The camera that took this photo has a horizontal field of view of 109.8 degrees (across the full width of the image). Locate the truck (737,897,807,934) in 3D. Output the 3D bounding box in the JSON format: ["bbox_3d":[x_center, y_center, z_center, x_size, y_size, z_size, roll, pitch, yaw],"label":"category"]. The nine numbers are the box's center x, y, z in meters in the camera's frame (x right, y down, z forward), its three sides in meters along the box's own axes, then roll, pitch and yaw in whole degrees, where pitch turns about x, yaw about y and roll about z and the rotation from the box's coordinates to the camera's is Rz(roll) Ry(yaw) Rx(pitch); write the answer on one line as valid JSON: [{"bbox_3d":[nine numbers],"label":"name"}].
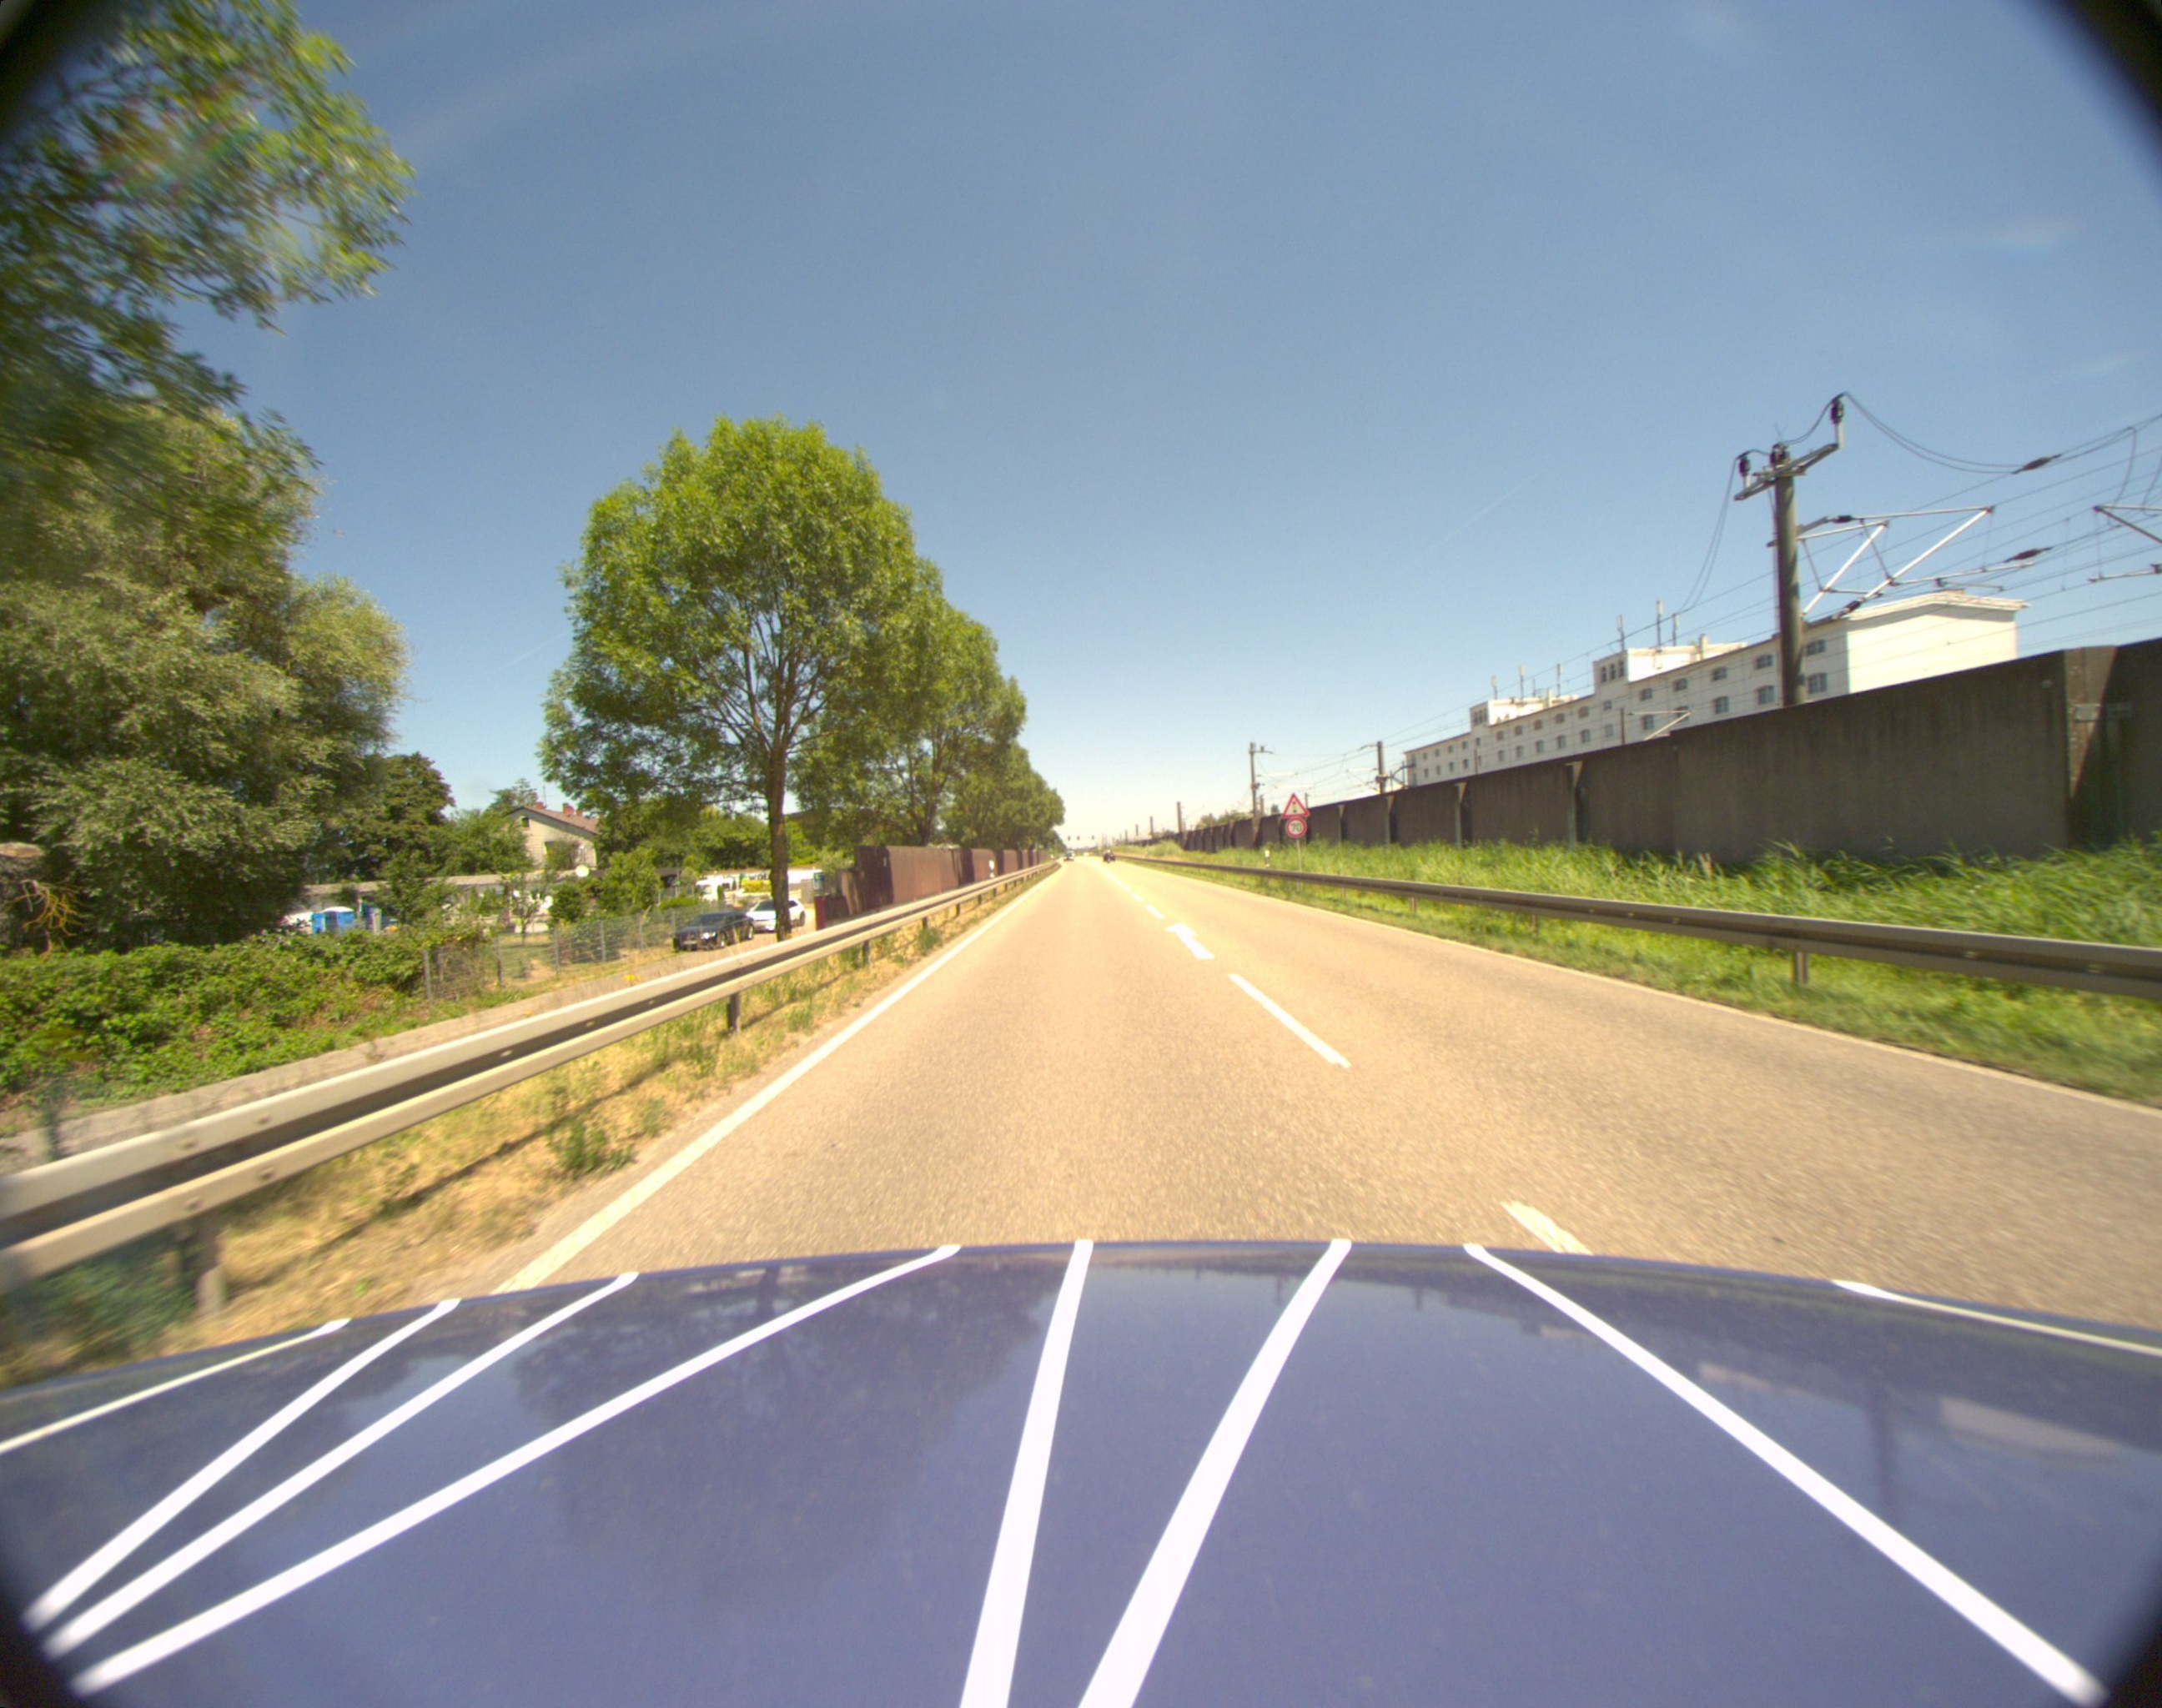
[{"bbox_3d":[-15.890,3.122,39.285,1.895,1.535,4.000,-2,1,1],"label":"truck"}]

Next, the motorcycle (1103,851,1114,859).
[{"bbox_3d":[3.567,0.115,98.118,1.240,1.066,3.128,-2,1,0],"label":"motorcycle"}]

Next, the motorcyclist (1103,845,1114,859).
[{"bbox_3d":[3.526,-0.272,98.177,1.257,1.853,1.245,-2,1,0],"label":"motorcyclist"}]

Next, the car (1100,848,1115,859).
[{"bbox_3d":[4.027,-0.102,116.436,1.999,1.499,3.999,-2,1,-1],"label":"car"}]

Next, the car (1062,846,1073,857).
[{"bbox_3d":[-2.481,-0.475,138.134,1.999,2.002,3.999,-2,1,-2],"label":"car"}]

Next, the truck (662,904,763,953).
[{"bbox_3d":[-15.928,3.190,33.155,1.887,1.562,4.902,-2,1,1],"label":"truck"}]
